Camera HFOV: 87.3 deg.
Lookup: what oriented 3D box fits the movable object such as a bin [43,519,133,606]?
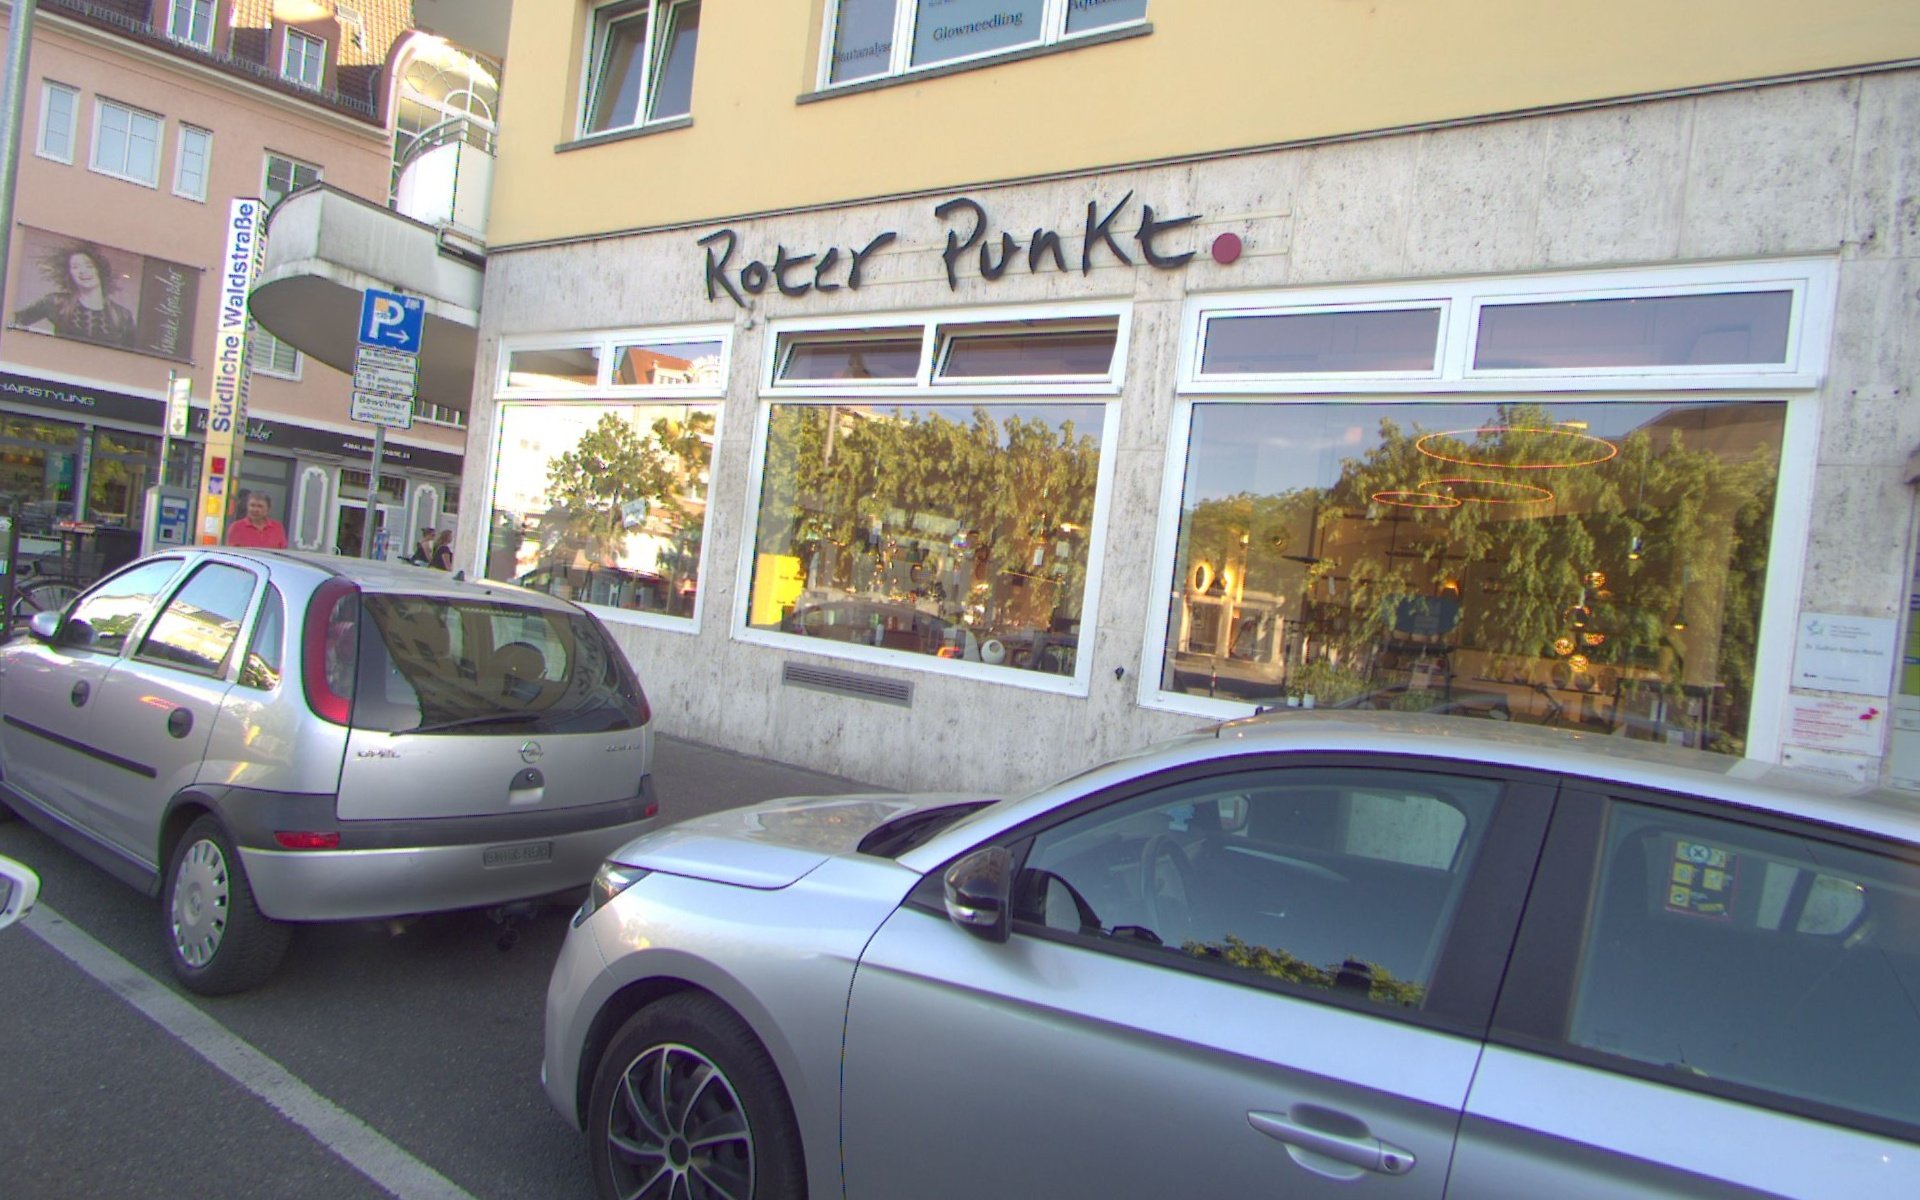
[{"bbox_3d":[-12.425,-0.527,14.347,0.617,1.105,0.734,6,-1,34],"label":"movable object such as a bin"}]

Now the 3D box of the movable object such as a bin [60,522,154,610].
[{"bbox_3d":[-11.889,-0.468,14.026,0.617,1.105,0.754,6,-1,34],"label":"movable object such as a bin"}]

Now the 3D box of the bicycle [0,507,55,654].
[{"bbox_3d":[-9.097,-0.235,8.700,0.778,1.284,1.721,7,1,37],"label":"bicycle"}]

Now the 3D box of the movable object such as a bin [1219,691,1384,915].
[{"bbox_3d":[1.892,1.061,5.526,0.592,1.041,0.811,7,0,32],"label":"movable object such as a bin"}]

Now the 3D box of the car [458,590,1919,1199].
[{"bbox_3d":[0.792,0.928,2.307,3.643,1.415,1.652,7,-1,30],"label":"car"}]

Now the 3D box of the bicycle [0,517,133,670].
[{"bbox_3d":[-8.092,-0.083,8.226,0.681,1.208,1.885,8,1,37],"label":"bicycle"}]

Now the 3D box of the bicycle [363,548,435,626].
[{"bbox_3d":[-10.044,-0.256,17.953,0.656,1.213,2.187,7,-1,-39],"label":"bicycle"}]

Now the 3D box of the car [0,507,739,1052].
[{"bbox_3d":[-2.929,0.481,4.459,3.583,1.397,1.616,7,-2,32],"label":"car"}]

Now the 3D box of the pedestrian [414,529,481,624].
[{"bbox_3d":[-10.058,-0.459,19.753,0.725,1.734,0.709,7,0,21],"label":"pedestrian"}]

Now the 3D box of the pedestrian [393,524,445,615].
[{"bbox_3d":[-10.747,-0.602,19.970,0.772,1.704,0.820,5,0,-30],"label":"pedestrian"}]

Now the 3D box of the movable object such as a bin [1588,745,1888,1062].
[{"bbox_3d":[3.391,1.268,4.492,0.879,1.066,0.751,7,0,32],"label":"movable object such as a bin"}]

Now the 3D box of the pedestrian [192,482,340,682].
[{"bbox_3d":[-6.739,-0.172,9.767,0.994,1.807,0.862,7,2,40],"label":"pedestrian"}]
